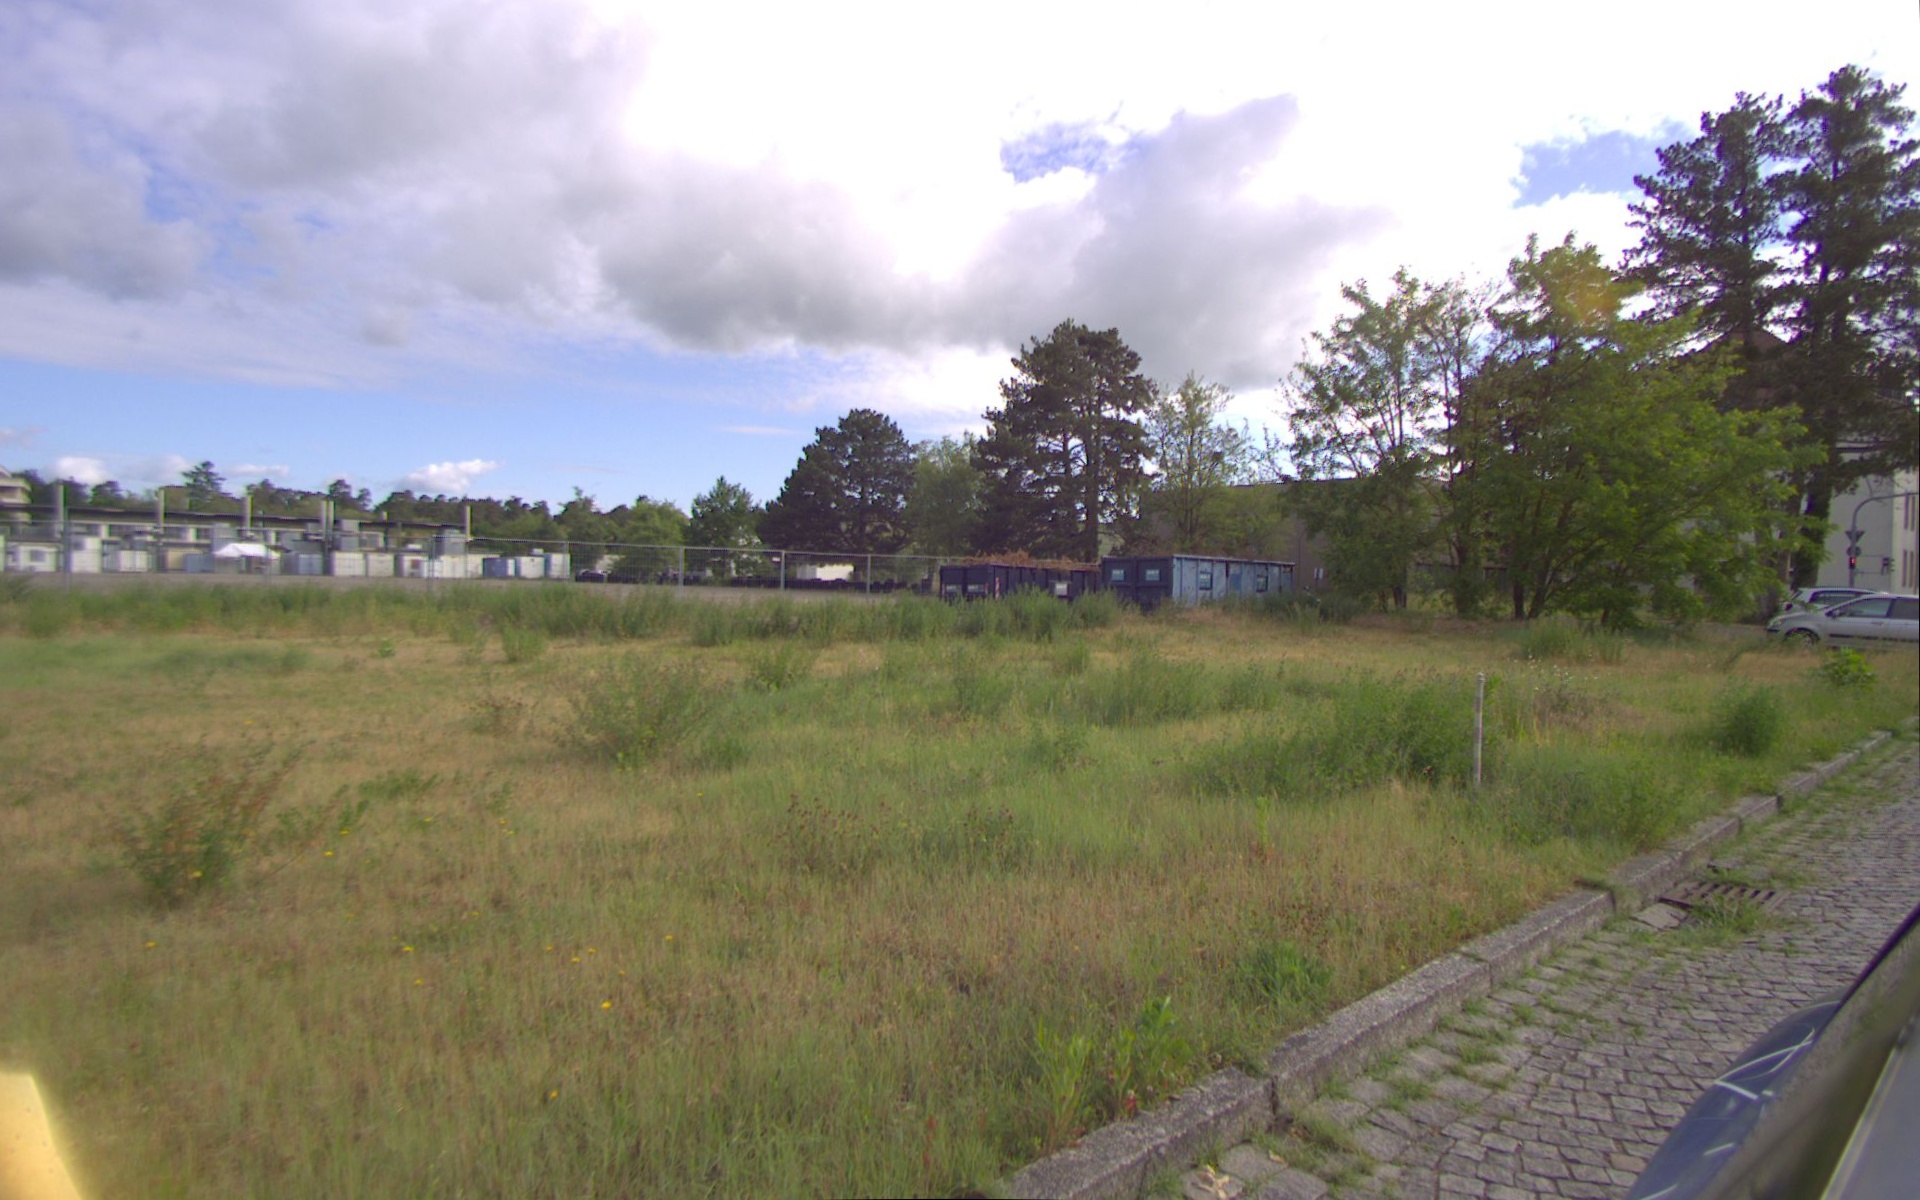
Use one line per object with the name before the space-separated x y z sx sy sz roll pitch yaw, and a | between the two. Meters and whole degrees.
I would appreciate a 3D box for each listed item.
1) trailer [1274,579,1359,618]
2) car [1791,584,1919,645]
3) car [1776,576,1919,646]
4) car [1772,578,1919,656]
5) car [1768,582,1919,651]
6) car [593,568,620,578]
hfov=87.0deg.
trailer | 11.263 -0.086 32.030 1.124 1.184 2.316 -1 1 -41
car | 26.181 0.437 28.090 1.796 1.442 4.558 -1 5 -43
car | 24.262 0.302 26.438 1.797 1.593 4.334 -1 5 -45
car | 20.661 0.400 22.490 1.713 1.497 3.779 1 4 -43
car | 22.495 0.443 24.434 1.765 1.423 4.376 1 4 -41
car | -61.287 -4.692 175.416 4.008 1.594 1.785 0 2 -39
